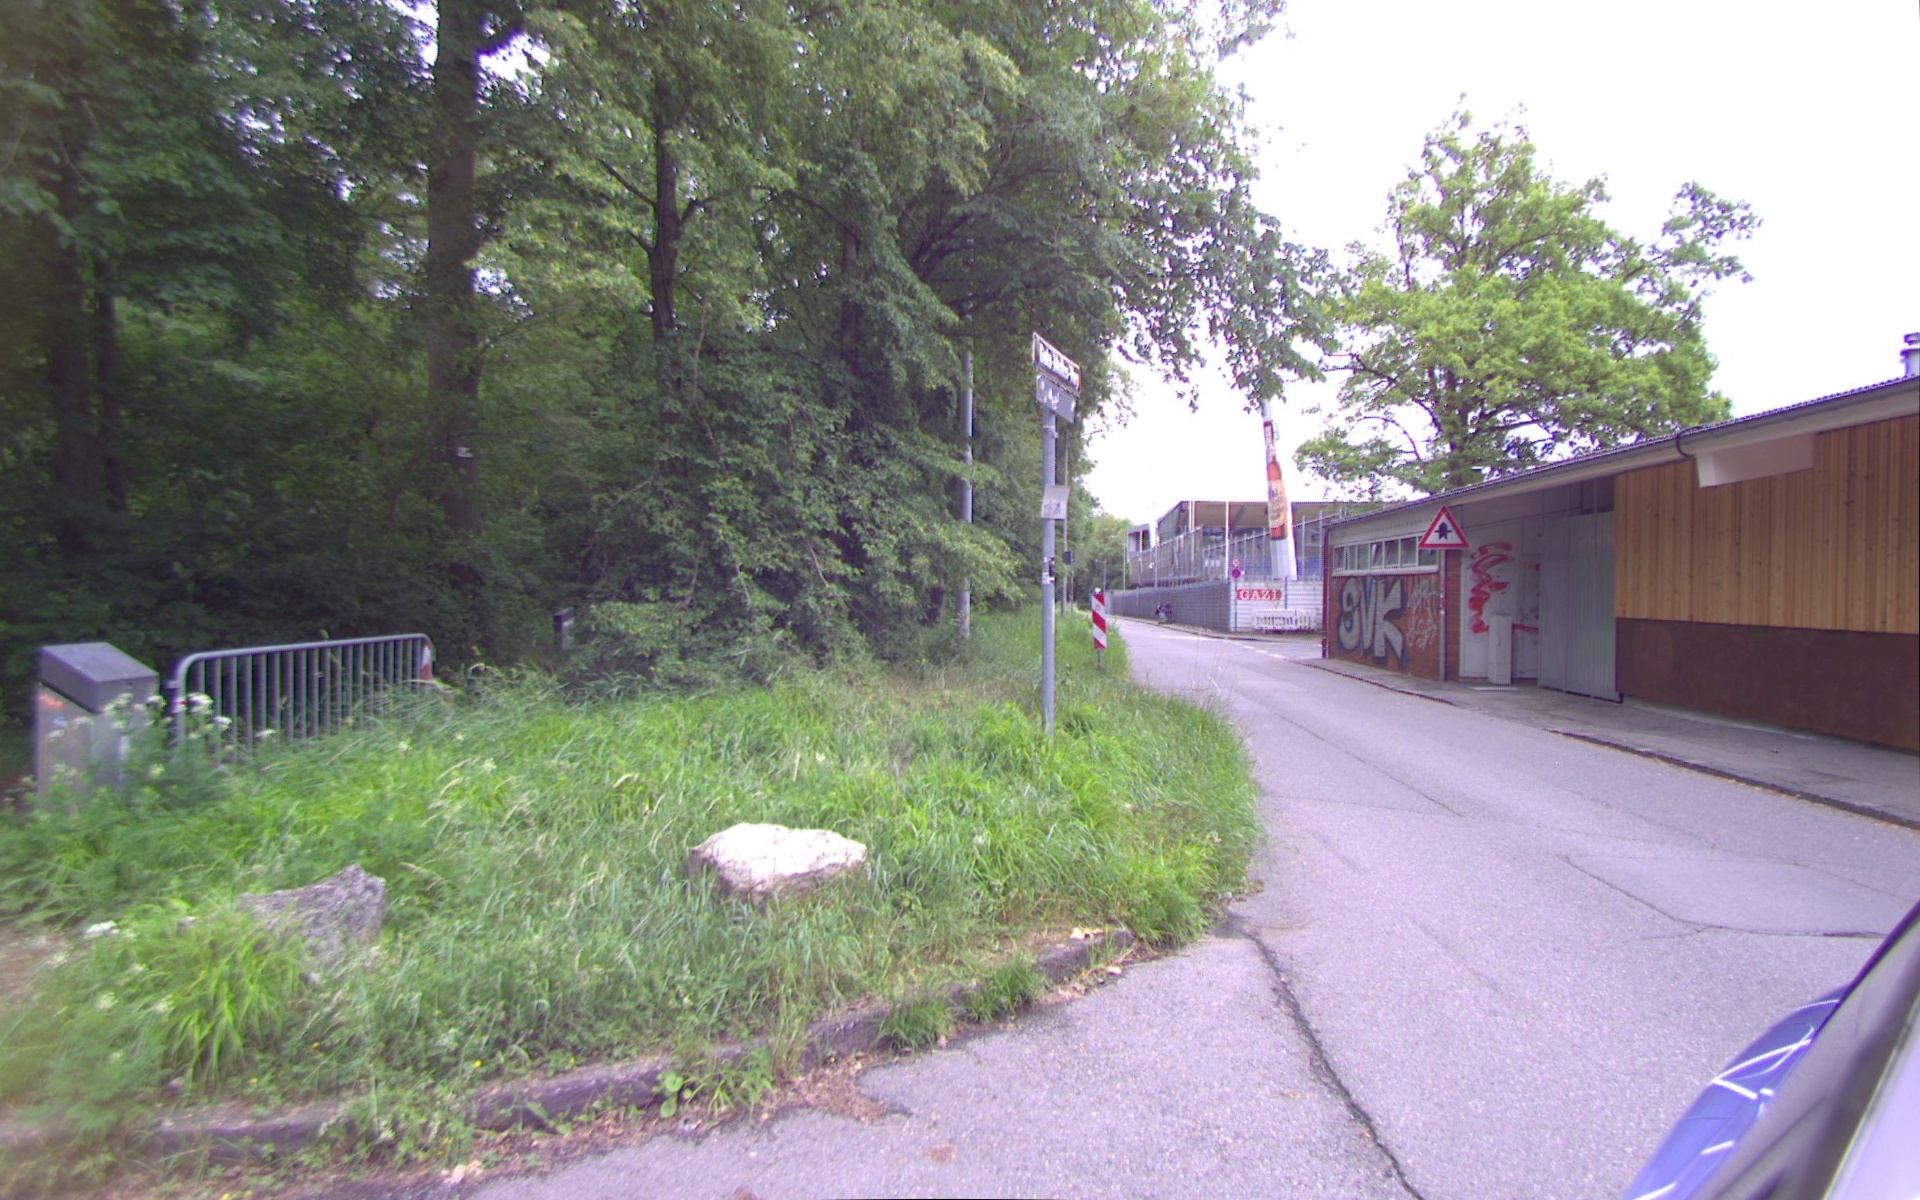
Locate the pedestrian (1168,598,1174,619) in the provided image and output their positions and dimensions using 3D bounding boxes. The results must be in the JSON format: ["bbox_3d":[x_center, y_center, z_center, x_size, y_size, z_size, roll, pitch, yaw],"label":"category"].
[{"bbox_3d":[14.259,0.541,68.285,0.370,1.404,0.405,0,-1,10],"label":"pedestrian"}]

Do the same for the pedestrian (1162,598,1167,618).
[{"bbox_3d":[13.799,0.540,68.282,0.366,1.404,0.375,0,-1,10],"label":"pedestrian"}]
